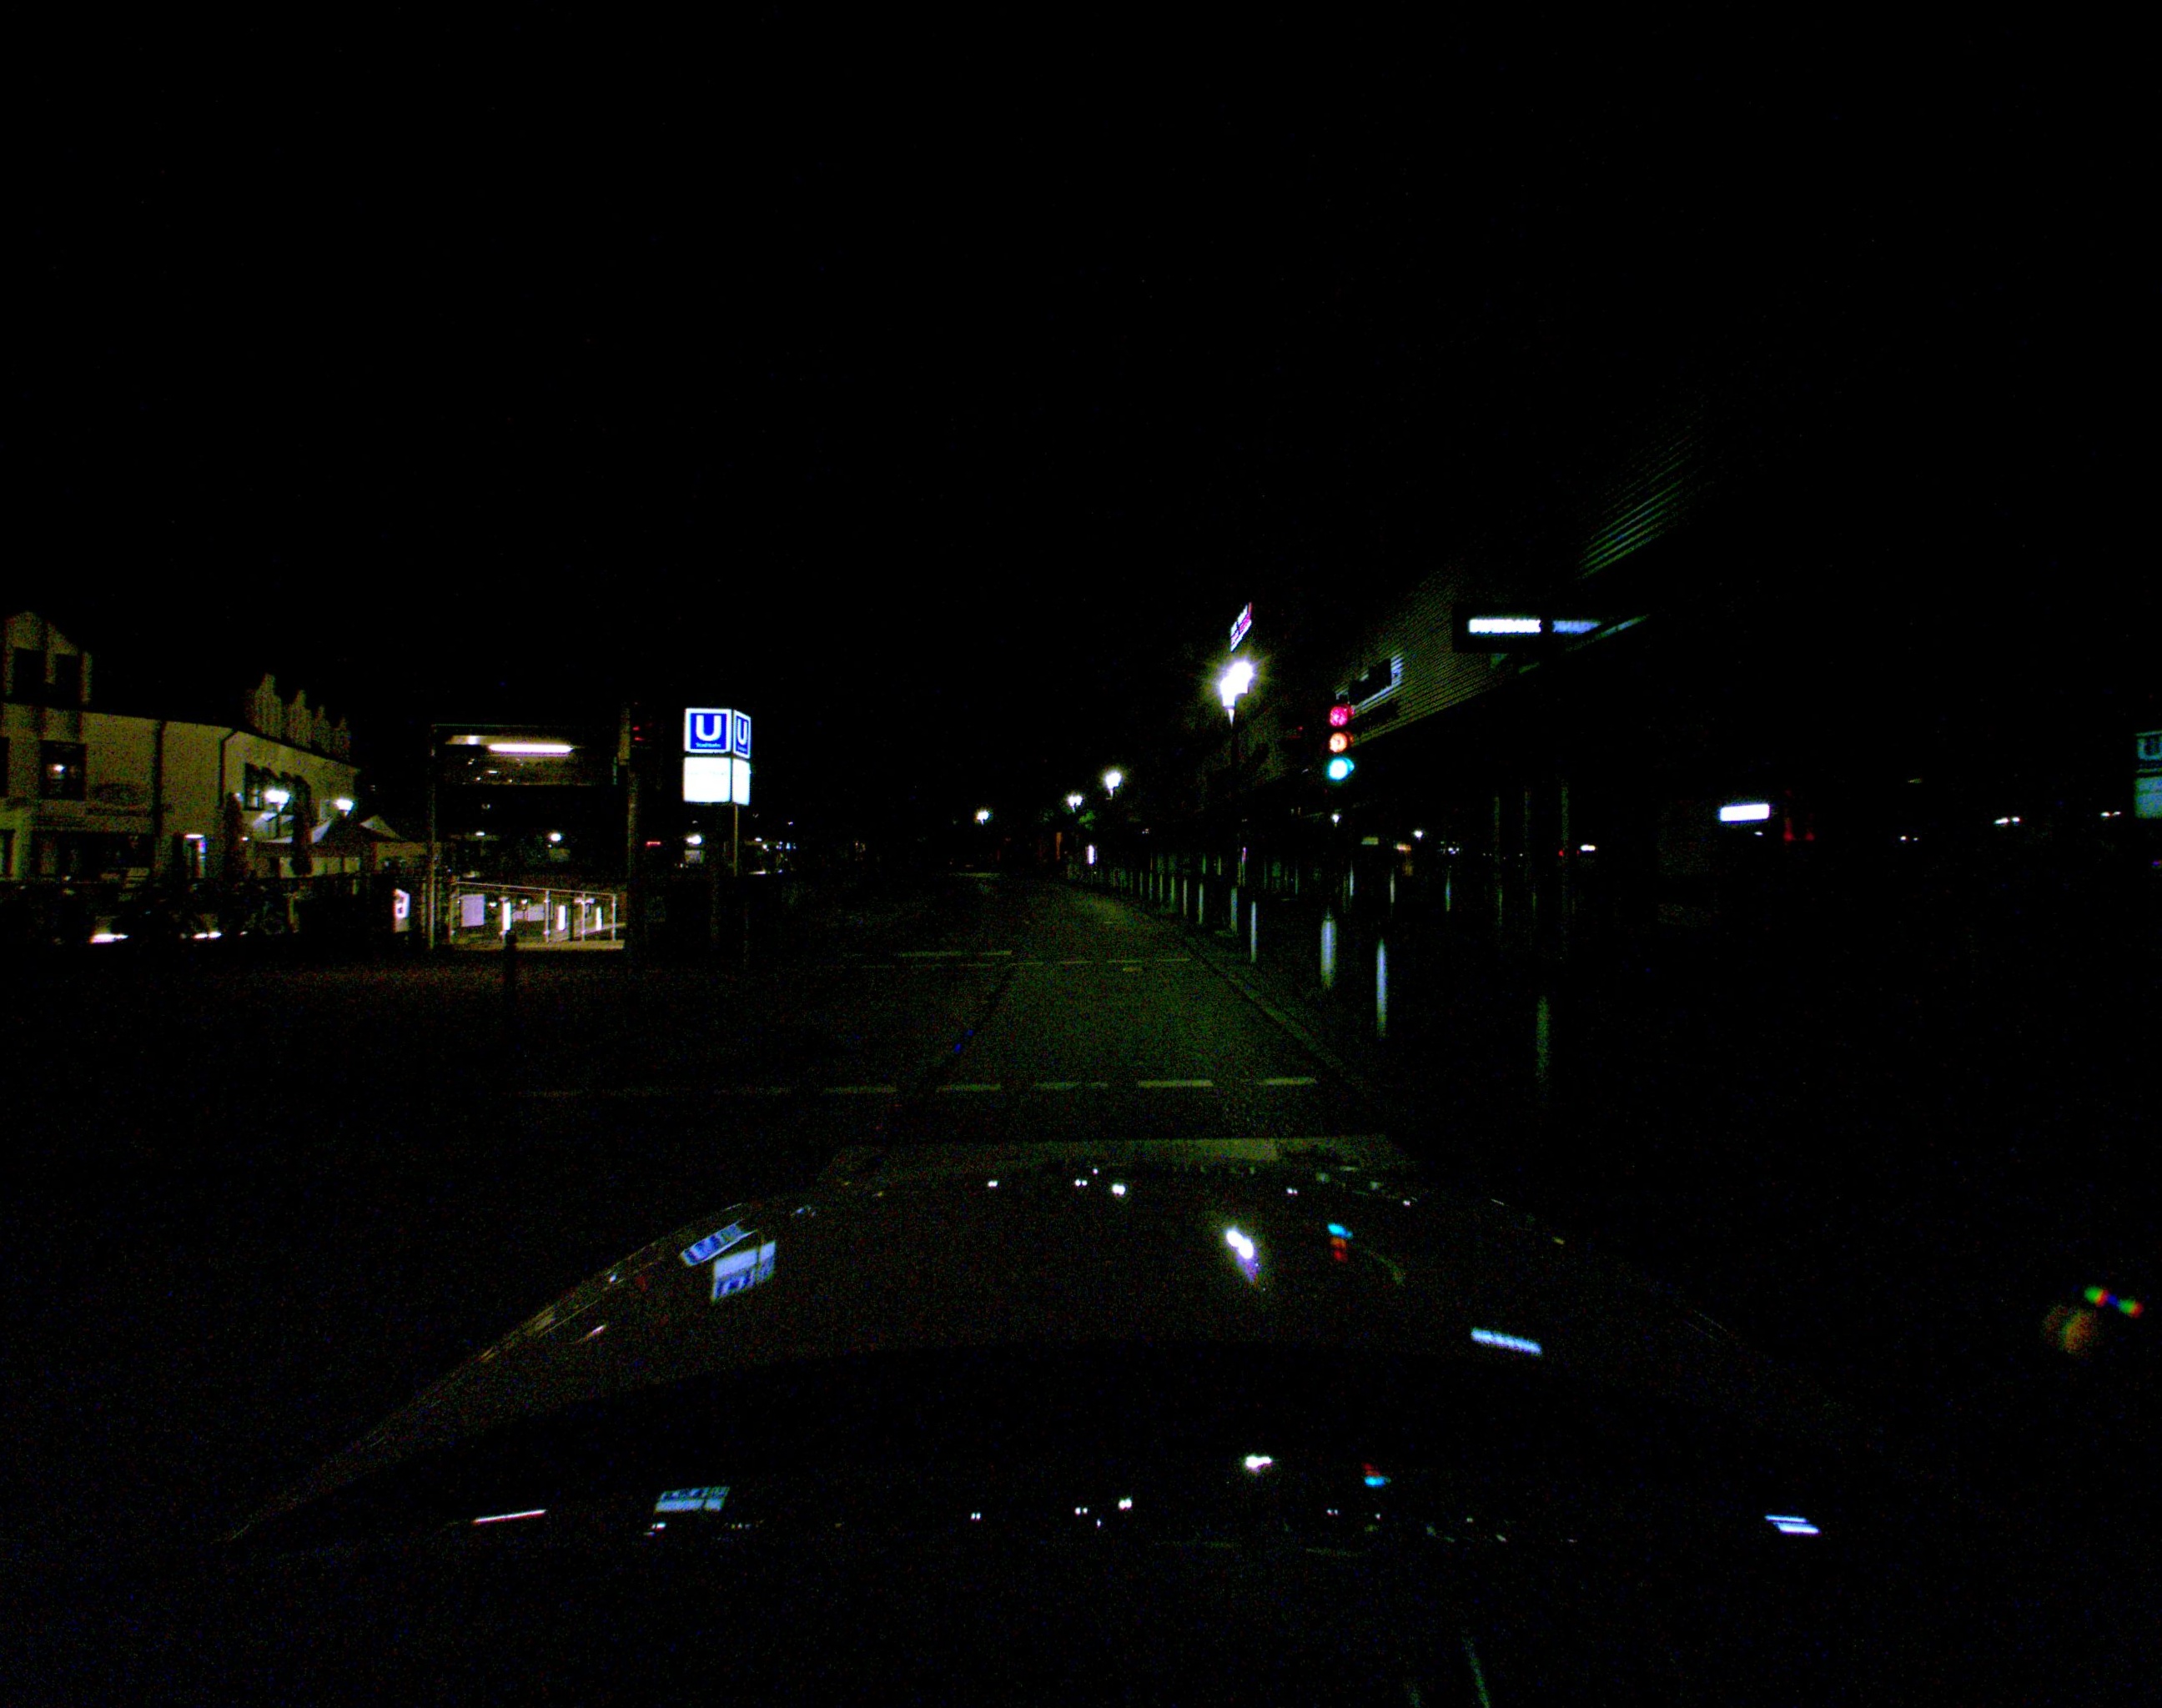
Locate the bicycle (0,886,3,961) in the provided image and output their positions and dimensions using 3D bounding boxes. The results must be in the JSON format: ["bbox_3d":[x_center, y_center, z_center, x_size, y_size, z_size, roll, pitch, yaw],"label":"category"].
[{"bbox_3d":[-15.312,1.013,10.854,0.611,1.069,1.728,-1,1,-35],"label":"bicycle"}]

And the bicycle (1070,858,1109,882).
[{"bbox_3d":[0.397,0.750,38.604,1.757,1.062,0.650,0,0,-24],"label":"bicycle"}]

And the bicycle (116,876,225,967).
[{"bbox_3d":[-13.158,0.930,11.825,0.547,1.154,1.730,-1,1,-31],"label":"bicycle"}]

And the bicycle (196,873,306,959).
[{"bbox_3d":[-12.824,0.918,12.643,0.764,1.162,1.730,-1,1,-31],"label":"bicycle"}]

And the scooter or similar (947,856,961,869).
[{"bbox_3d":[-12.714,0.845,81.304,1.253,1.227,0.593,1,0,-27],"label":"scooter or similar"}]

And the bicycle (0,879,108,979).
[{"bbox_3d":[-13.856,0.956,10.836,0.611,1.165,1.730,-1,1,-31],"label":"bicycle"}]

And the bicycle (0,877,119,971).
[{"bbox_3d":[-14.713,0.953,11.475,0.608,1.165,1.738,-1,1,-16],"label":"bicycle"}]

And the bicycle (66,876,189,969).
[{"bbox_3d":[-13.678,0.935,11.737,0.611,1.165,1.730,-1,1,-31],"label":"bicycle"}]
